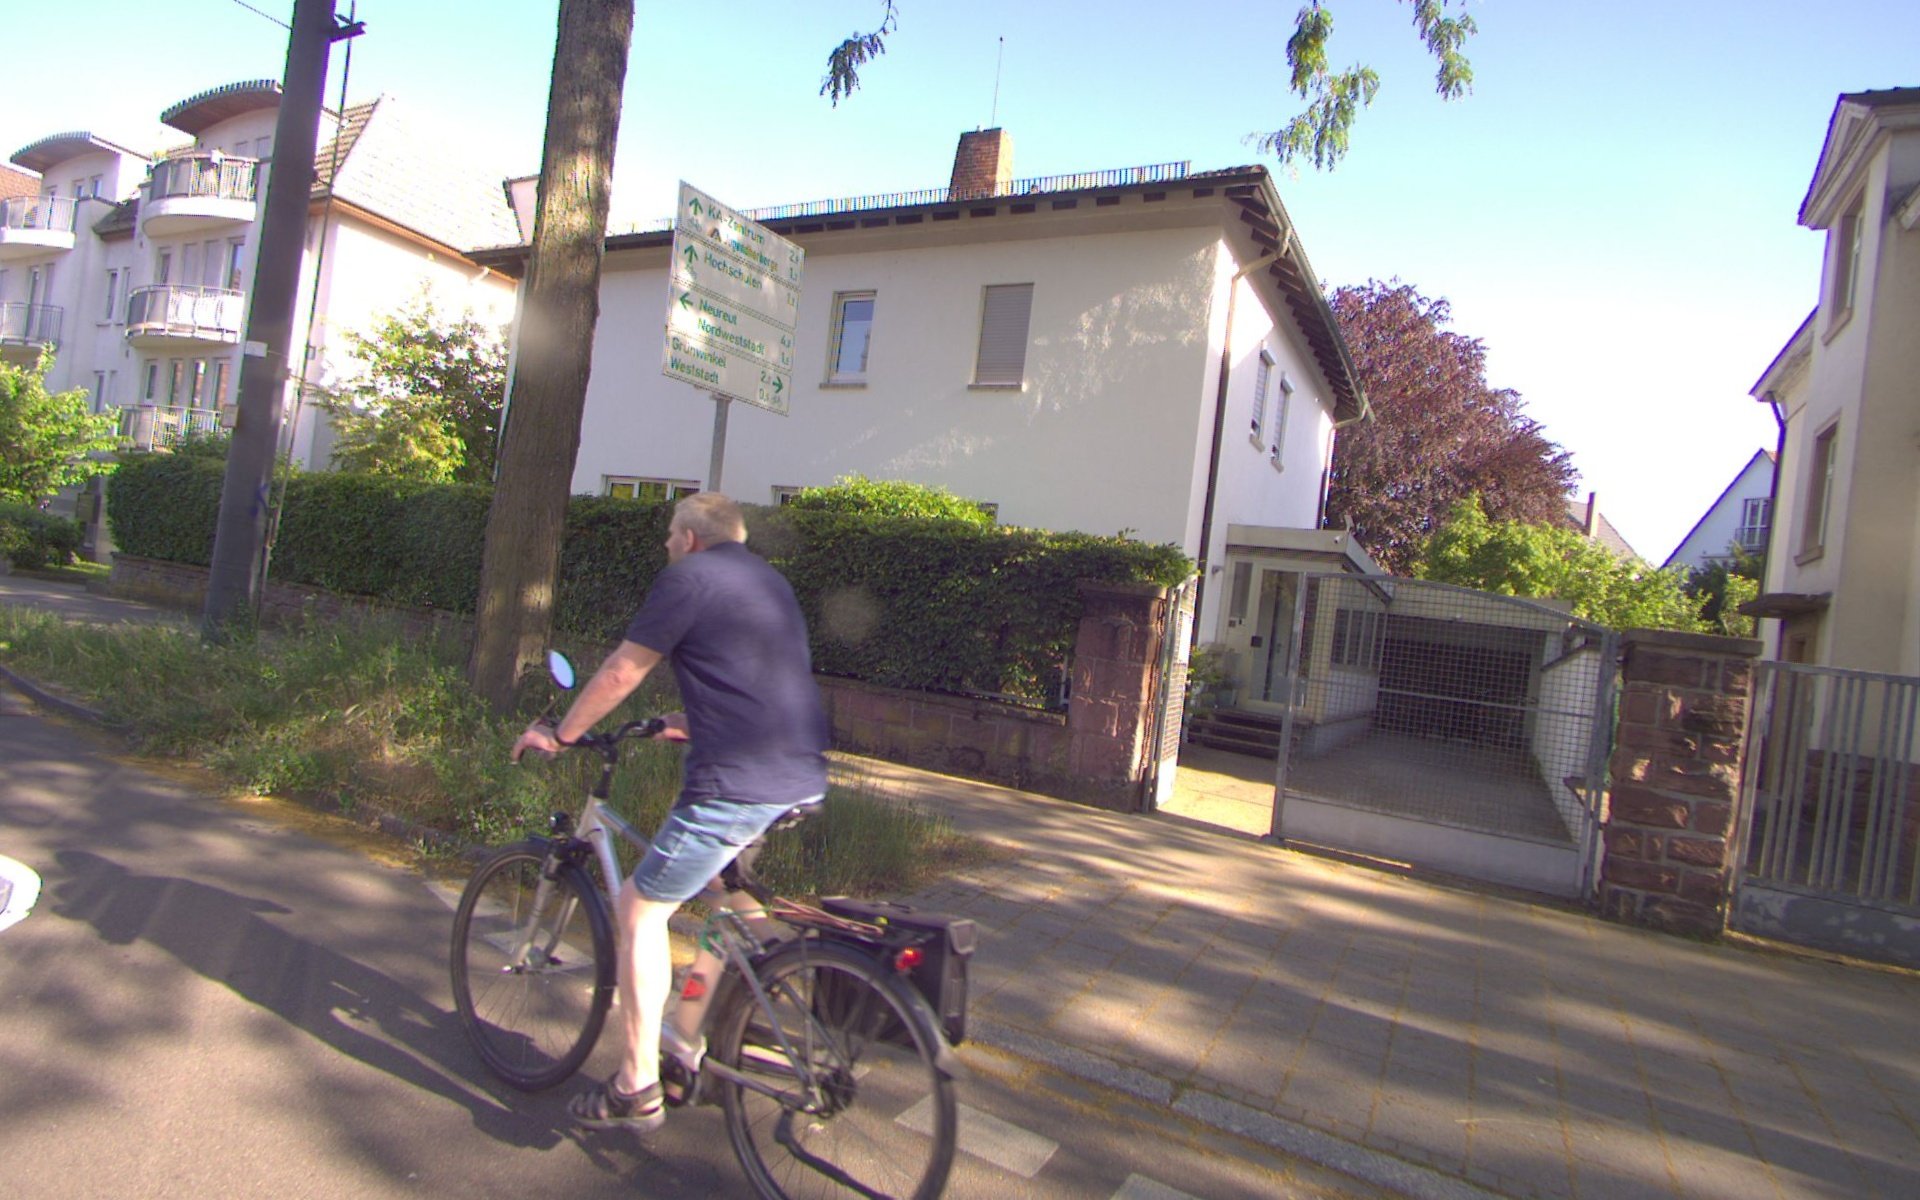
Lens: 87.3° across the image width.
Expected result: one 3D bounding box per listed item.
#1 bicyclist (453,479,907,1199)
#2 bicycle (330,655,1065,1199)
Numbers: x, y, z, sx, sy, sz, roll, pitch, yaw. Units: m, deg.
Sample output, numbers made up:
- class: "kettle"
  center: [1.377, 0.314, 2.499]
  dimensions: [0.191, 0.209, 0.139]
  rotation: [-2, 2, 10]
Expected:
- class: "bicyclist"
  center: [-0.729, 0.598, 2.668]
  dimensions: [0.766, 1.707, 0.617]
  rotation: [7, 0, 32]
- class: "bicycle"
  center: [-0.790, 0.835, 2.686]
  dimensions: [1.941, 1.110, 0.625]
  rotation: [7, -1, 32]
